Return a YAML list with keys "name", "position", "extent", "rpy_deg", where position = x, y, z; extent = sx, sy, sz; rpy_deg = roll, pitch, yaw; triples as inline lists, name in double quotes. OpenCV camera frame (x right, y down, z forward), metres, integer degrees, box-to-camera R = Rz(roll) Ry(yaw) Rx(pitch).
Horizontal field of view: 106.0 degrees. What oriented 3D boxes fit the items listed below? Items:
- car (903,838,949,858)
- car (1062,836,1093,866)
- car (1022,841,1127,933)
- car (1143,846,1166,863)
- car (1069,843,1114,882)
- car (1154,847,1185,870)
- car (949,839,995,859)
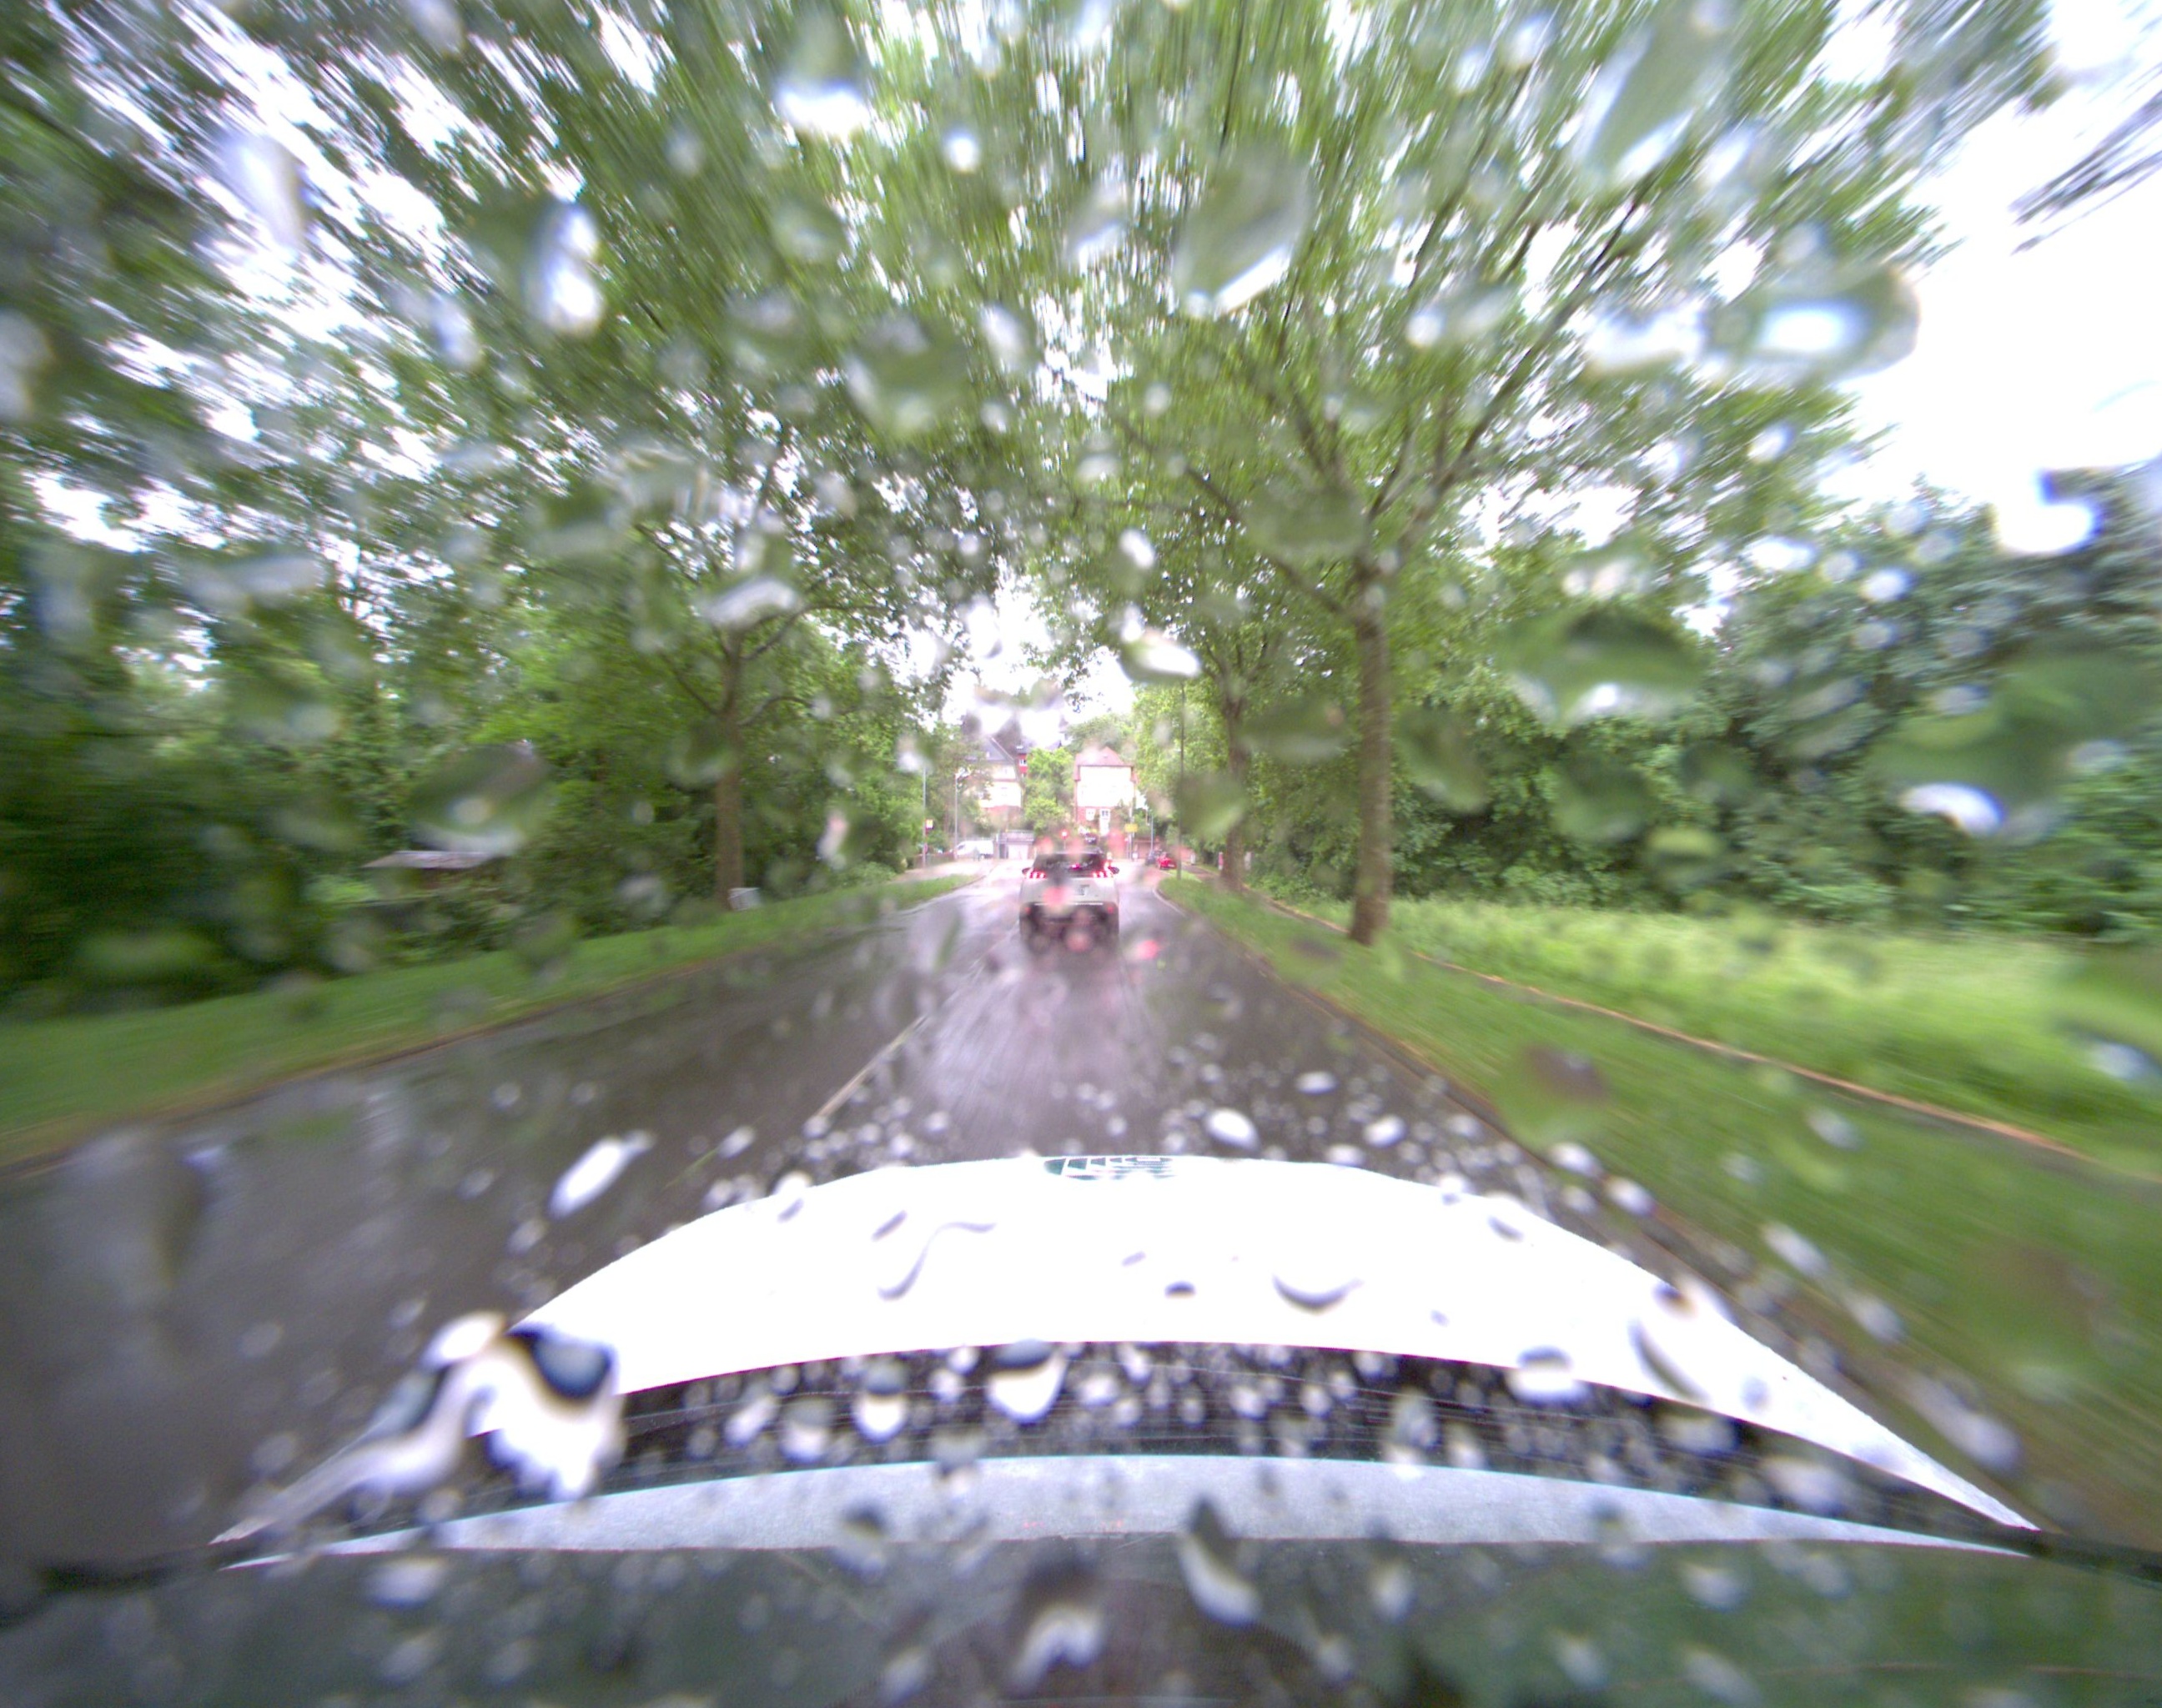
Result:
- name: "car"
  position: [-20.744, -0.776, 109.222]
  extent: [5.542, 2.494, 2.316]
  rpy_deg: [1, -1, 1]
- name: "car"
  position: [-0.227, -0.220, 49.914]
  extent: [1.755, 1.711, 4.599]
  rpy_deg: [2, 1, -1]
- name: "car"
  position: [-0.089, 0.531, 15.912]
  extent: [1.746, 1.536, 4.368]
  rpy_deg: [0, 1, 0]
- name: "car"
  position: [6.881, 0.042, 76.266]
  extent: [1.743, 1.491, 3.600]
  rpy_deg: [3, 0, 0]
- name: "car"
  position: [0.479, 0.316, 36.104]
  extent: [1.825, 1.456, 4.660]
  rpy_deg: [3, 2, 1]
- name: "car"
  position: [7.221, 0.328, 66.693]
  extent: [1.815, 1.517, 3.741]
  rpy_deg: [7, 2, -2]
- name: "car"
  position: [-14.548, -0.670, 108.969]
  extent: [5.639, 2.494, 2.316]
  rpy_deg: [1, -1, 1]
